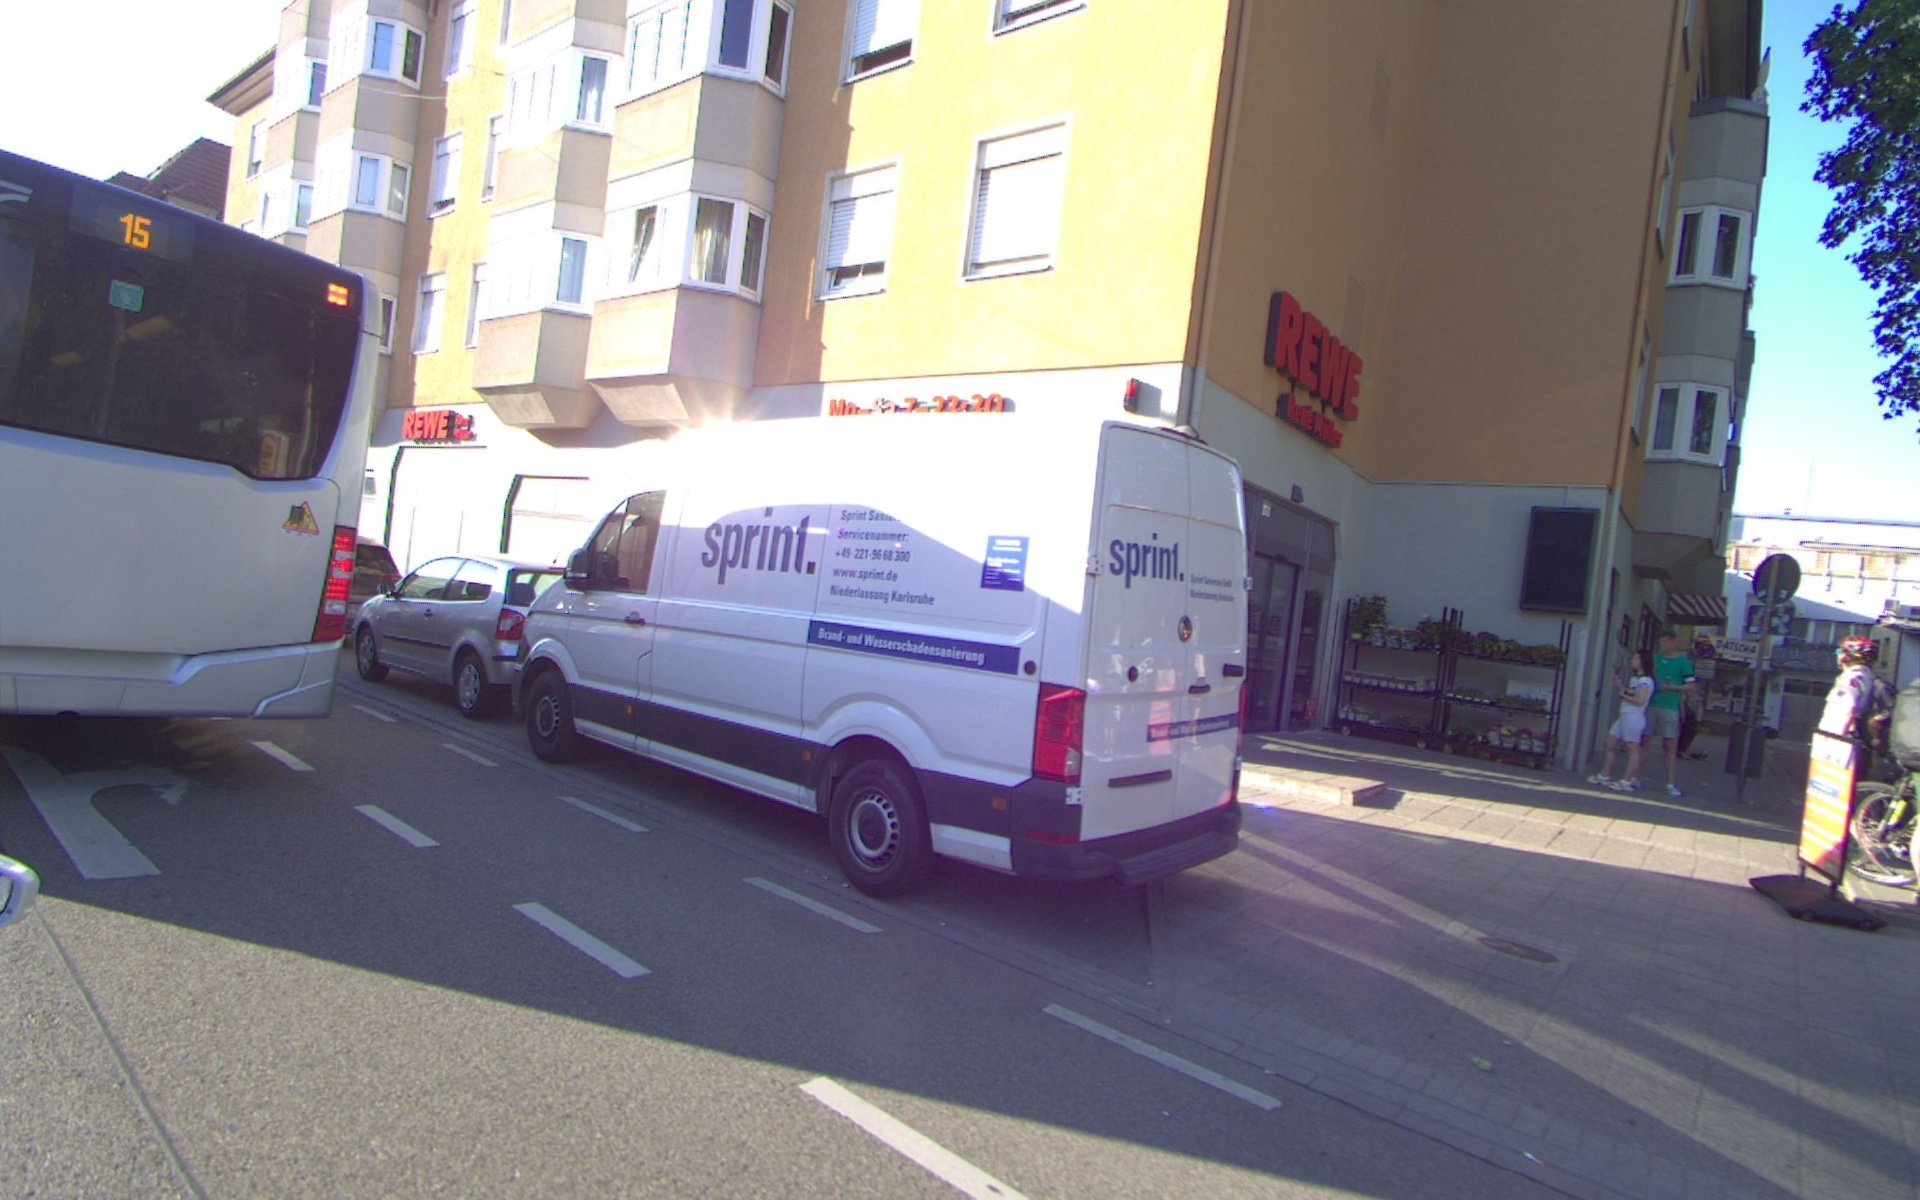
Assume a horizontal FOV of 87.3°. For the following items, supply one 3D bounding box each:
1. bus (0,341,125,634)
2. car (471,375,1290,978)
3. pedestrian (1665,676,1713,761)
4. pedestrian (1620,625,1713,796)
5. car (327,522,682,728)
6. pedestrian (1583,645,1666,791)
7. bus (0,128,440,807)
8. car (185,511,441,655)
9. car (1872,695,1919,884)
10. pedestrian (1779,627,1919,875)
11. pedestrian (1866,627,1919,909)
[{"bbox_3d":[-14.143,-1.688,13.529,9.000,3.092,2.737,7,-1,40],"label":"bus"},{"bbox_3d":[-1.010,0.126,6.897,5.702,2.586,2.012,7,4,40],"label":"car"},{"bbox_3d":[14.316,2.306,19.752,0.588,1.561,0.742,7,1,37],"label":"pedestrian"},{"bbox_3d":[8.297,1.276,11.834,0.465,1.905,0.575,6,1,-1],"label":"pedestrian"},{"bbox_3d":[-4.810,0.192,10.412,3.731,1.608,1.836,7,0,40],"label":"car"},{"bbox_3d":[7.663,1.343,11.620,0.413,1.587,0.639,7,1,10],"label":"pedestrian"},{"bbox_3d":[-7.466,-0.911,7.791,8.727,3.092,2.737,7,-1,40],"label":"bus"},{"bbox_3d":[-9.241,-0.285,14.228,4.169,1.556,1.836,7,0,40],"label":"car"},{"bbox_3d":[9.389,1.647,8.638,1.972,1.449,4.011,3,-2,39],"label":"car"},{"bbox_3d":[7.062,1.152,7.954,0.640,1.807,0.527,8,5,33],"label":"pedestrian"},{"bbox_3d":[6.547,1.106,6.529,0.757,1.776,0.804,9,5,40],"label":"pedestrian"}]
